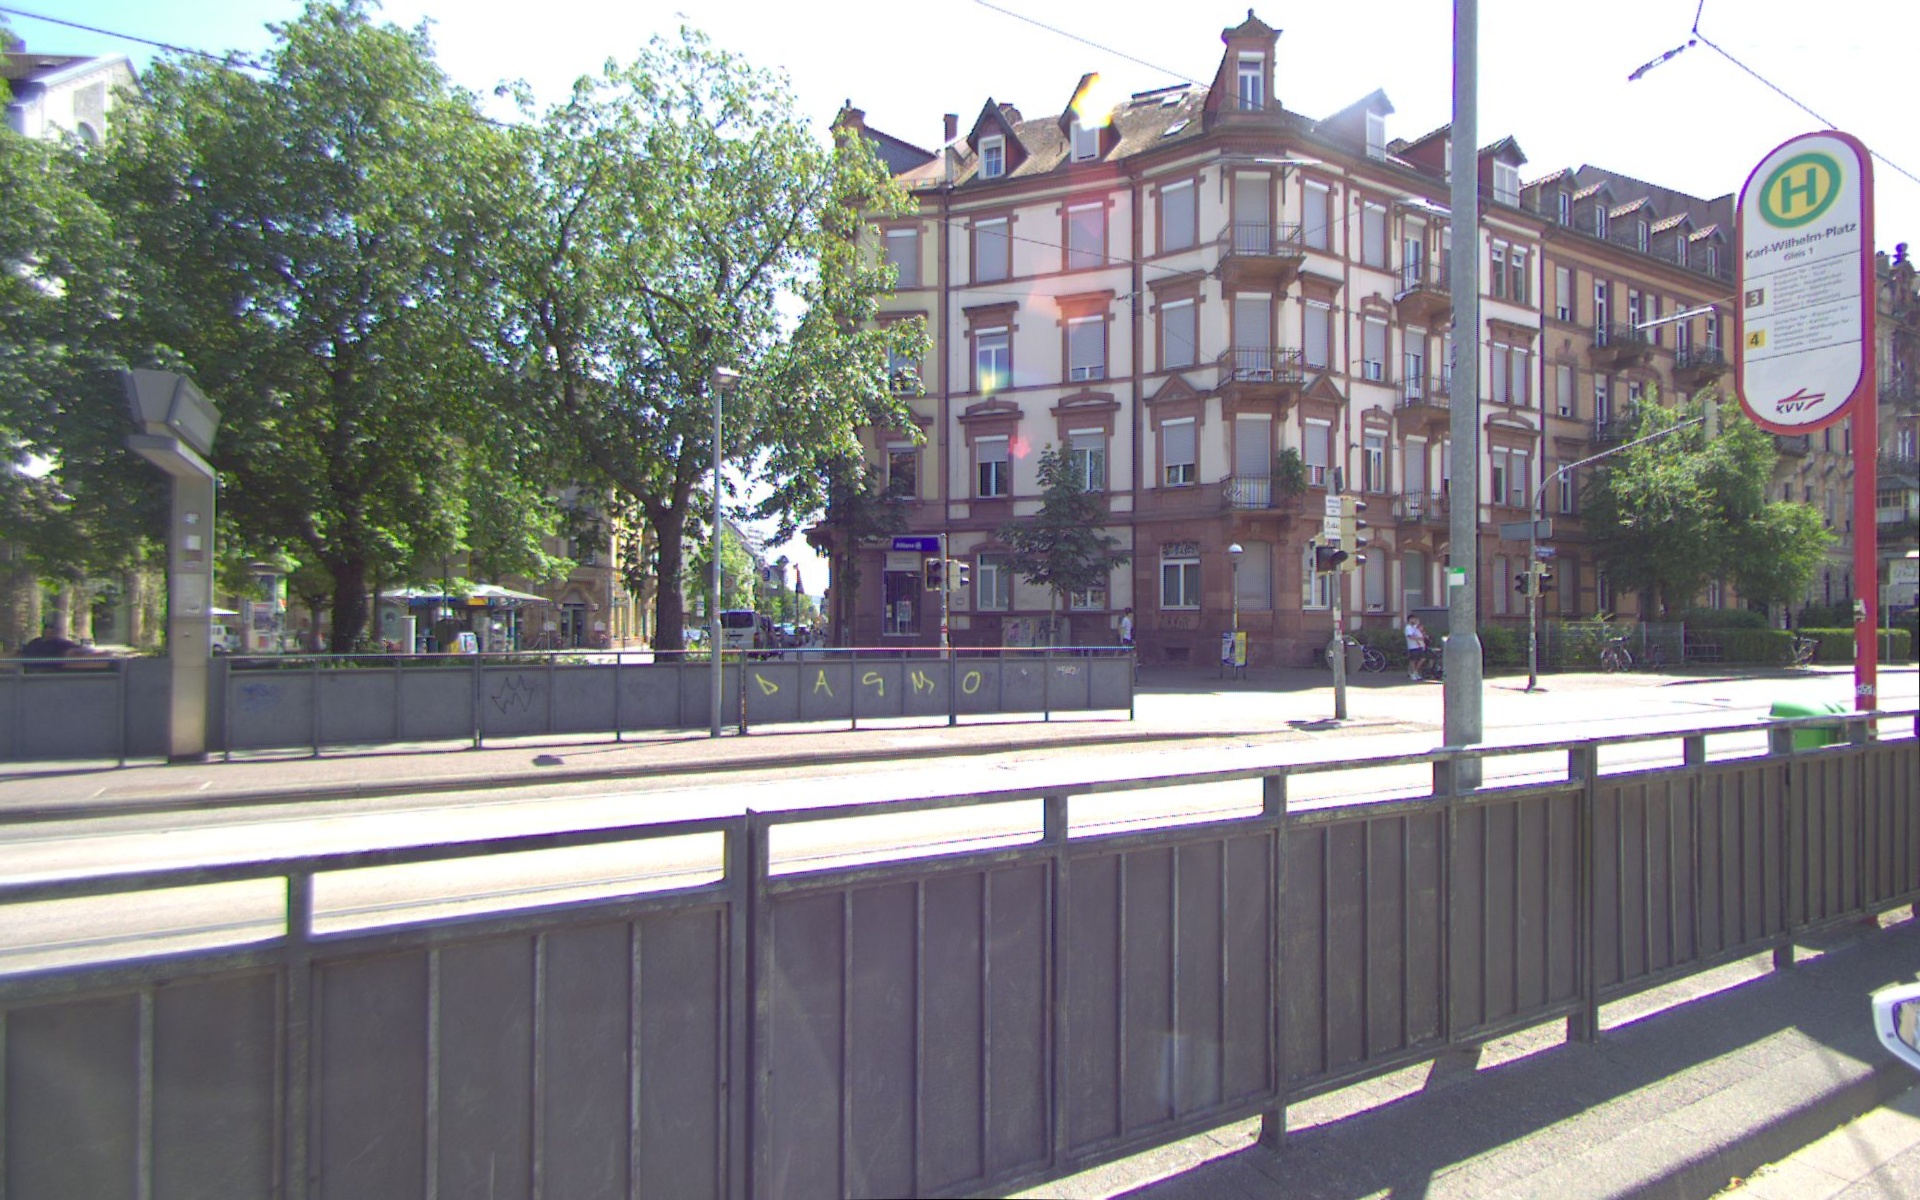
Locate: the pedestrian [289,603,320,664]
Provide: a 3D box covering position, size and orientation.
[{"bbox_3d":[-22.478,1.142,34.448,0.705,2.040,0.810,1,-1,-22],"label":"pedestrian"}]

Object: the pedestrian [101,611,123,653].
[{"bbox_3d":[-33.153,1.246,39.266,0.554,1.644,0.510,1,-1,-30],"label":"pedestrian"}]

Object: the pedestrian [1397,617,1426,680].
[{"bbox_3d":[12.124,1.302,26.960,0.641,1.637,0.469,1,2,18],"label":"pedestrian"}]

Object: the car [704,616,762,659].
[{"bbox_3d":[-8.279,1.345,36.879,1.512,1.461,3.739,1,-1,-5],"label":"car"}]

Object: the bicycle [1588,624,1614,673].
[{"bbox_3d":[19.536,1.461,30.598,0.606,1.414,2.301,0,-1,34],"label":"bicycle"}]

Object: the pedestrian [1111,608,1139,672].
[{"bbox_3d":[4.831,1.159,29.485,0.556,1.849,0.632,0,-1,39],"label":"pedestrian"}]

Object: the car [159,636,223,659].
[{"bbox_3d":[-31.098,1.896,40.642,0.847,0.876,1.910,0,-1,35],"label":"car"}]

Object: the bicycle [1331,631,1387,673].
[{"bbox_3d":[11.812,1.537,29.736,1.494,1.185,0.364,1,0,34],"label":"bicycle"}]

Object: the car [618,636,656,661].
[{"bbox_3d":[-20.524,3.052,63.966,1.513,1.461,3.738,1,-1,-6],"label":"car"}]

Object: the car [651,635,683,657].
[{"bbox_3d":[-20.733,3.244,71.106,1.513,1.461,3.738,1,-1,-6],"label":"car"}]

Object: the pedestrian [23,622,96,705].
[{"bbox_3d":[-14.607,1.011,16.299,0.607,1.304,0.646,1,-1,21],"label":"pedestrian"}]

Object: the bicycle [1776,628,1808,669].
[{"bbox_3d":[28.533,1.645,34.479,0.583,1.374,2.434,0,-1,34],"label":"bicycle"}]

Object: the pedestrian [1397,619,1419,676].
[{"bbox_3d":[12.398,1.311,27.800,0.497,1.536,0.469,1,-1,18],"label":"pedestrian"}]

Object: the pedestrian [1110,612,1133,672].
[{"bbox_3d":[4.878,1.265,30.334,0.500,1.791,0.527,0,-1,39],"label":"pedestrian"}]

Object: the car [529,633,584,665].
[{"bbox_3d":[-20.189,2.442,50.417,1.512,1.461,3.739,1,-1,-5],"label":"car"}]

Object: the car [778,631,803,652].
[{"bbox_3d":[-12.590,3.044,74.727,1.512,1.461,3.739,1,-1,-5],"label":"car"}]

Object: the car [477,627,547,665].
[{"bbox_3d":[-18.837,1.896,42.374,1.512,1.461,3.739,1,-1,-5],"label":"car"}]

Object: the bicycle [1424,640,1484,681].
[{"bbox_3d":[13.255,1.620,26.992,1.375,1.027,0.389,2,0,21],"label":"bicycle"}]
